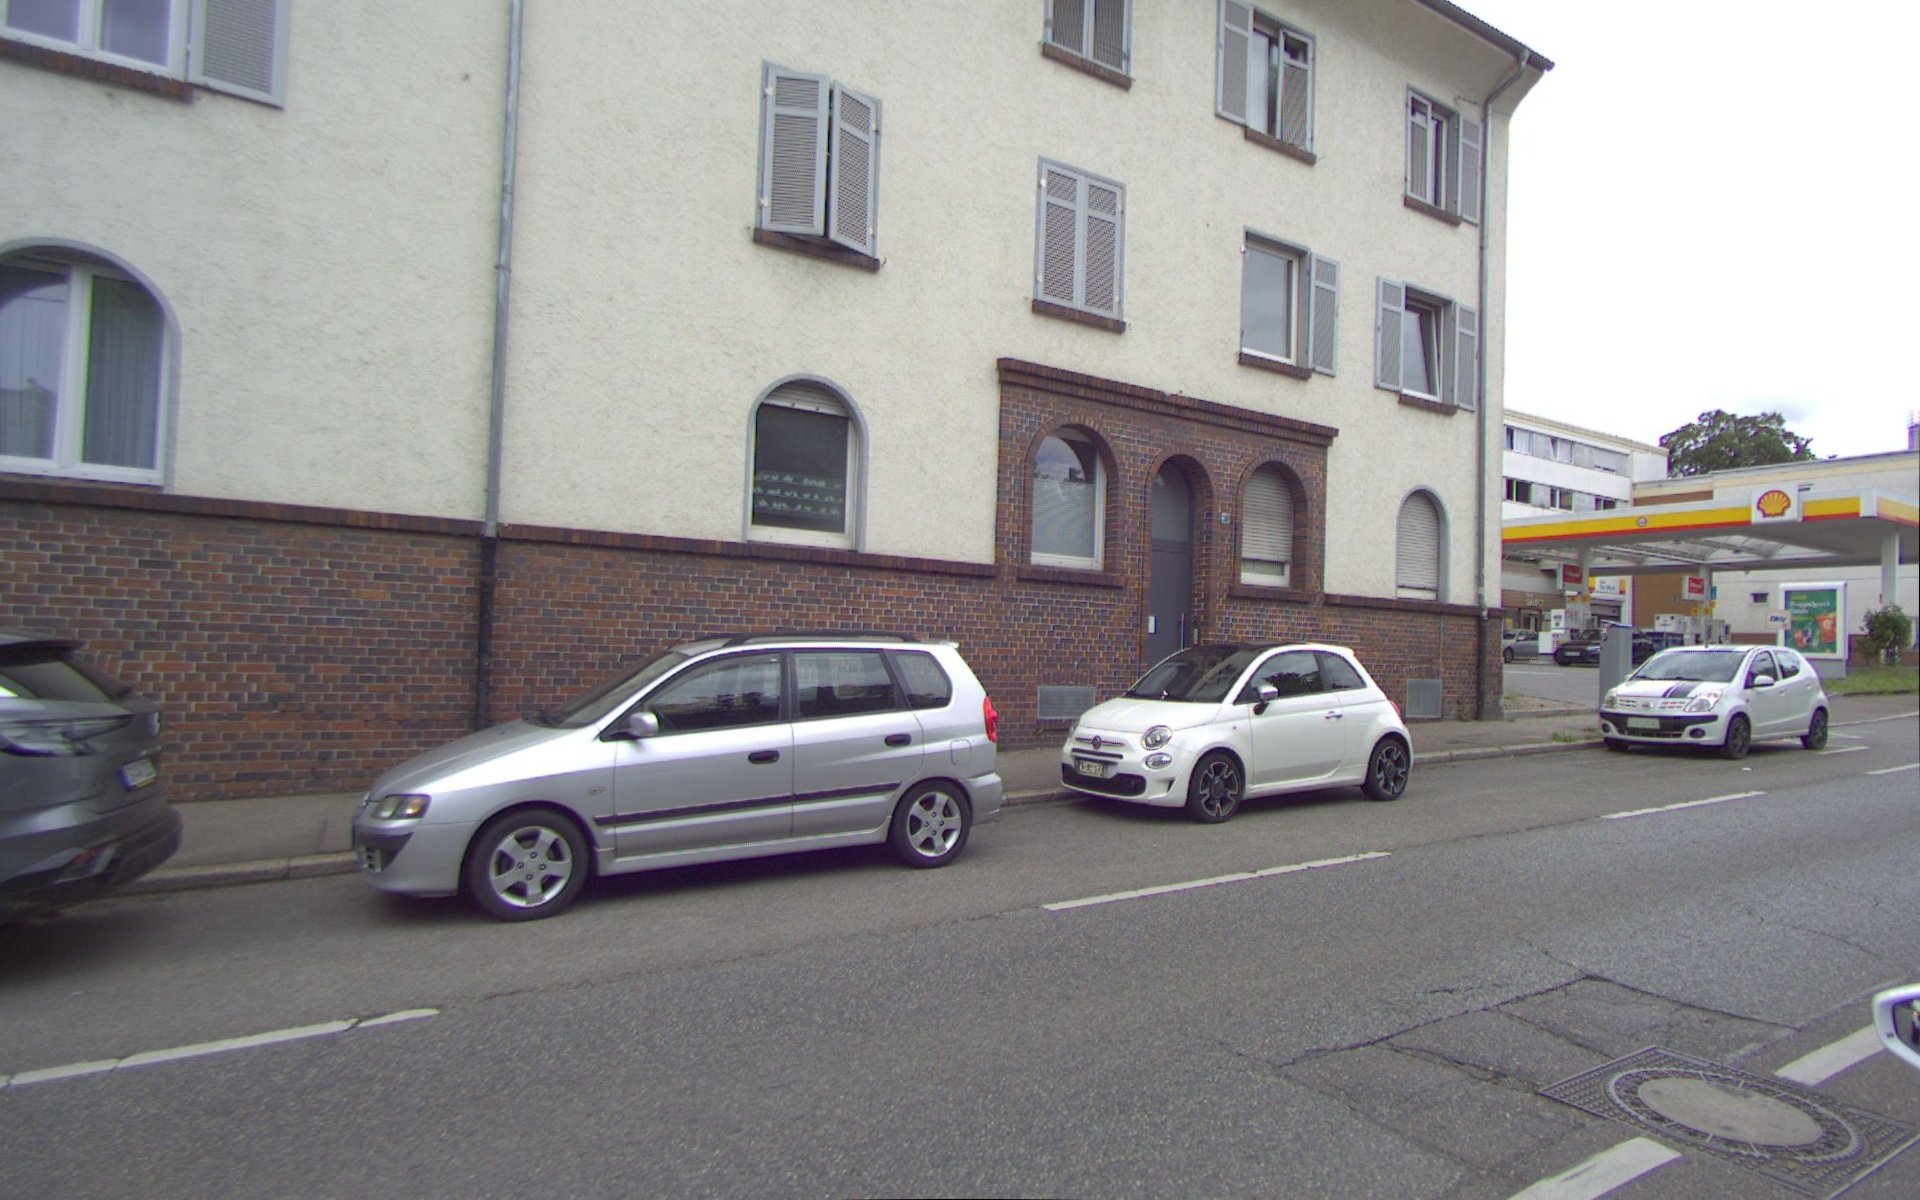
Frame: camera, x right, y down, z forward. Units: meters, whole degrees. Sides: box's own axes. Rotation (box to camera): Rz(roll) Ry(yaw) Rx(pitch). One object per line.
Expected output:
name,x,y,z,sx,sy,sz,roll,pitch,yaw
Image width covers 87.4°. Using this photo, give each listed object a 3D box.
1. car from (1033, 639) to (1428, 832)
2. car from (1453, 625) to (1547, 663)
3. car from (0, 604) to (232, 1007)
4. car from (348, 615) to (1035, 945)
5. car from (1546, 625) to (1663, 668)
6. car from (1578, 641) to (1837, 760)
car,2.577,1.110,9.395,3.562,1.494,1.540,1,-2,-31
car,22.206,1.790,41.290,3.594,1.439,1.789,1,-1,-30
car,-5.786,0.828,3.989,4.445,1.620,1.720,1,-2,-28
car,-1.649,0.967,6.646,4.034,1.578,1.719,2,-4,-31
car,23.330,1.652,36.323,4.365,1.439,1.789,1,-1,-30
car,10.512,1.316,14.089,3.621,1.444,1.612,1,-2,-30
